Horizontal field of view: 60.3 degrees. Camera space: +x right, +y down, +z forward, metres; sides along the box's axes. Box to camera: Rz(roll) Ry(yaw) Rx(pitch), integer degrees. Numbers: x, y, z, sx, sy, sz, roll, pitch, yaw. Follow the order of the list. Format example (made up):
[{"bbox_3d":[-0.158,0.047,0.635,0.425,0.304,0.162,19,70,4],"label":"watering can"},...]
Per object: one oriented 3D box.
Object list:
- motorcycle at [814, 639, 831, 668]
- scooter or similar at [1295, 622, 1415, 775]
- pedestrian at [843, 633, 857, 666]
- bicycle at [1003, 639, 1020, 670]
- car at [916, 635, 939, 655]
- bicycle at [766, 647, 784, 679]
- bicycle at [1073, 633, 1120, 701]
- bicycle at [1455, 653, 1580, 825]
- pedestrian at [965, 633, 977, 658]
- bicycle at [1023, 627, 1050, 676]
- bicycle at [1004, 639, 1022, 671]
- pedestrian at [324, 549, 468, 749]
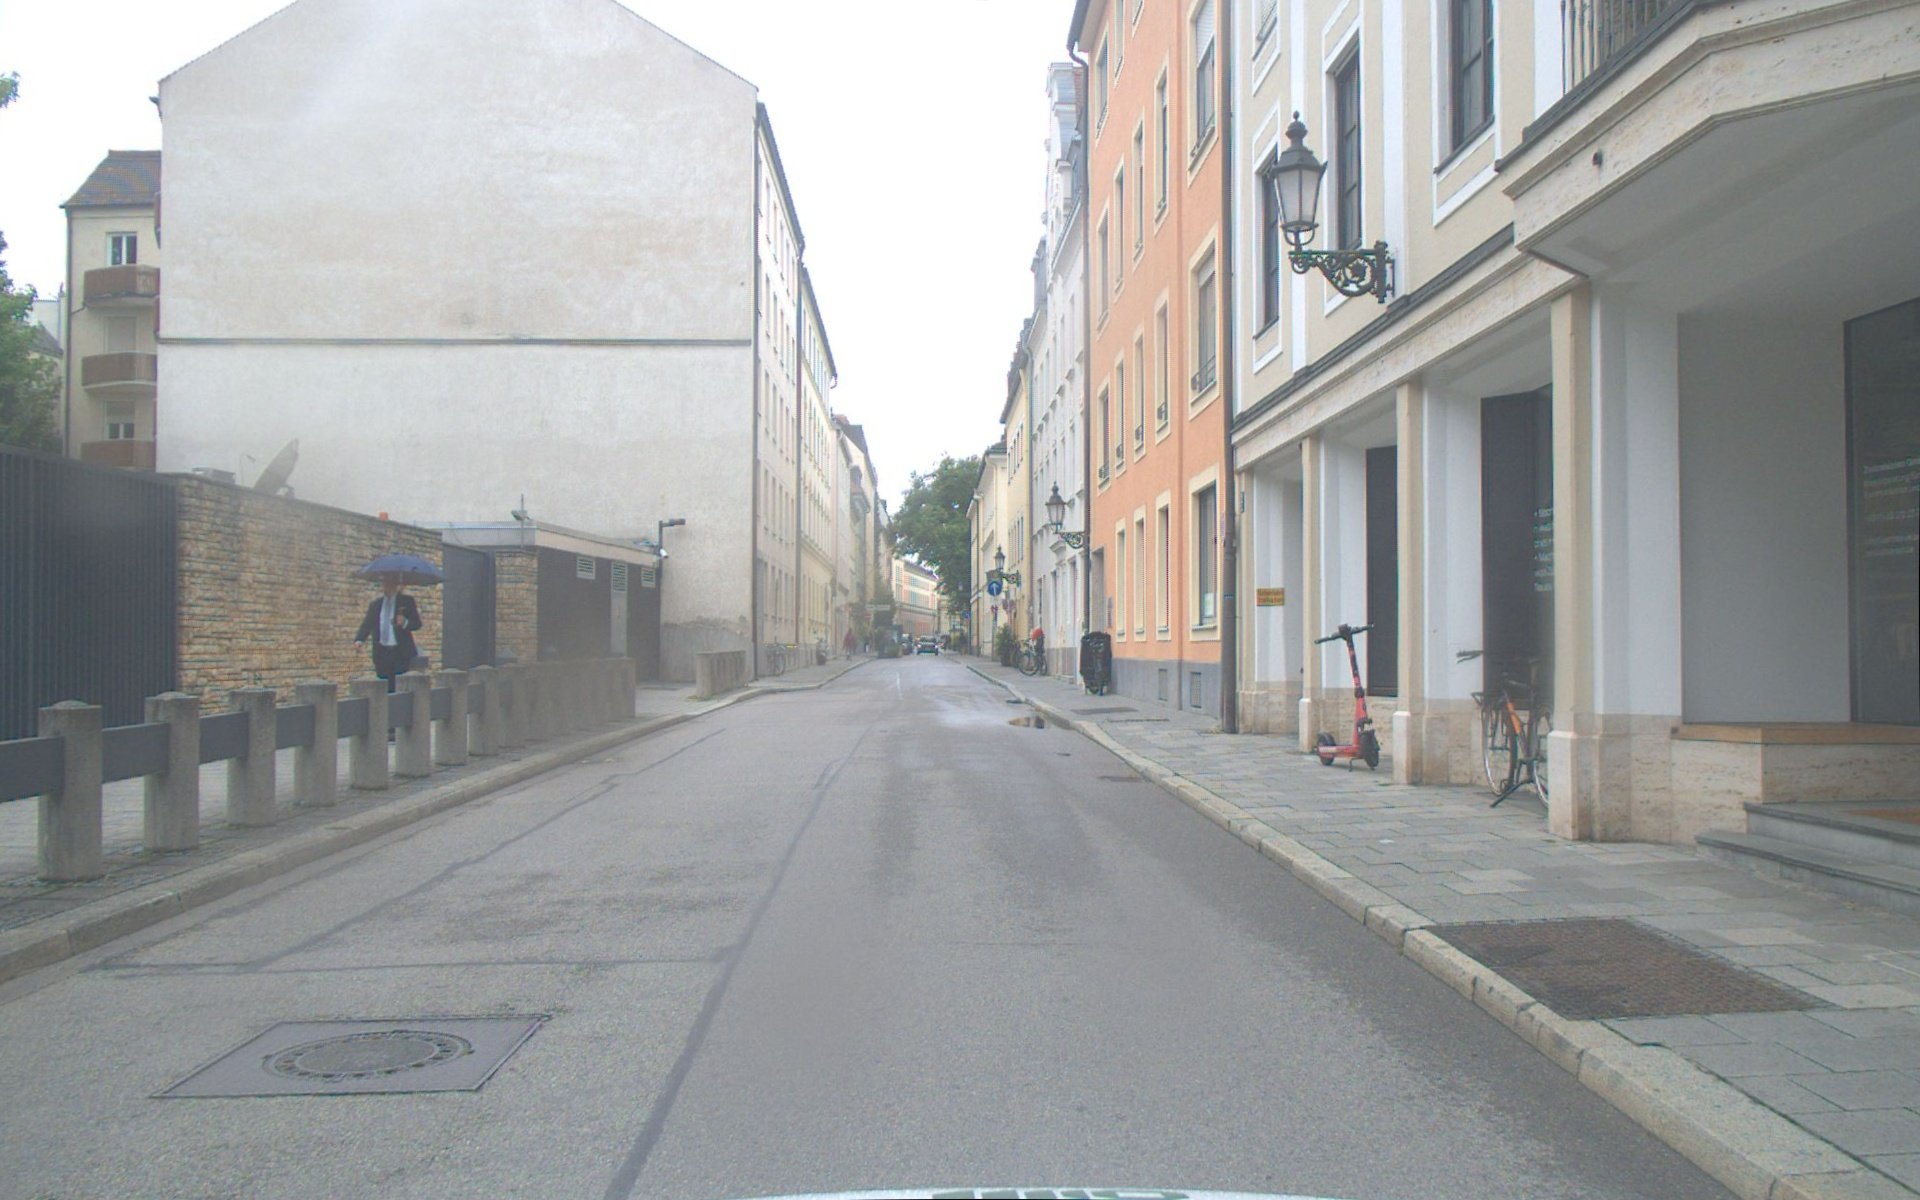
[{"bbox_3d":[-5.726,2.239,68.895,0.590,1.194,1.708,1,-2,-1],"label":"motorcycle"},{"bbox_3d":[3.501,0.846,14.748,0.457,1.281,1.271,-2,0,-15],"label":"scooter or similar"},{"bbox_3d":[-5.827,2.630,87.567,0.750,1.738,0.784,0,-2,-4],"label":"pedestrian"},{"bbox_3d":[1.961,2.070,62.986,0.554,1.157,1.683,-2,-2,-1],"label":"bicycle"},{"bbox_3d":[-2.709,3.702,135.975,1.776,1.622,3.997,0,-2,-3],"label":"car"},{"bbox_3d":[-5.652,1.918,50.618,0.313,0.960,1.574,3,-2,0],"label":"bicycle"},{"bbox_3d":[2.716,1.308,33.046,0.665,1.261,2.382,-4,-1,0],"label":"bicycle"},{"bbox_3d":[3.842,0.916,11.519,0.454,1.011,2.080,-1,0,9],"label":"bicycle"},{"bbox_3d":[0.790,3.377,123.608,0.862,1.834,1.046,1,-2,-1],"label":"pedestrian"},{"bbox_3d":[2.299,1.543,49.979,0.698,1.420,2.121,-2,-1,1],"label":"bicycle"},{"bbox_3d":[1.962,2.032,61.047,0.554,1.157,1.987,-2,-2,-1],"label":"bicycle"},{"bbox_3d":[-6.229,0.532,18.344,1.198,2.141,1.116,0,-1,1],"label":"pedestrian"}]
